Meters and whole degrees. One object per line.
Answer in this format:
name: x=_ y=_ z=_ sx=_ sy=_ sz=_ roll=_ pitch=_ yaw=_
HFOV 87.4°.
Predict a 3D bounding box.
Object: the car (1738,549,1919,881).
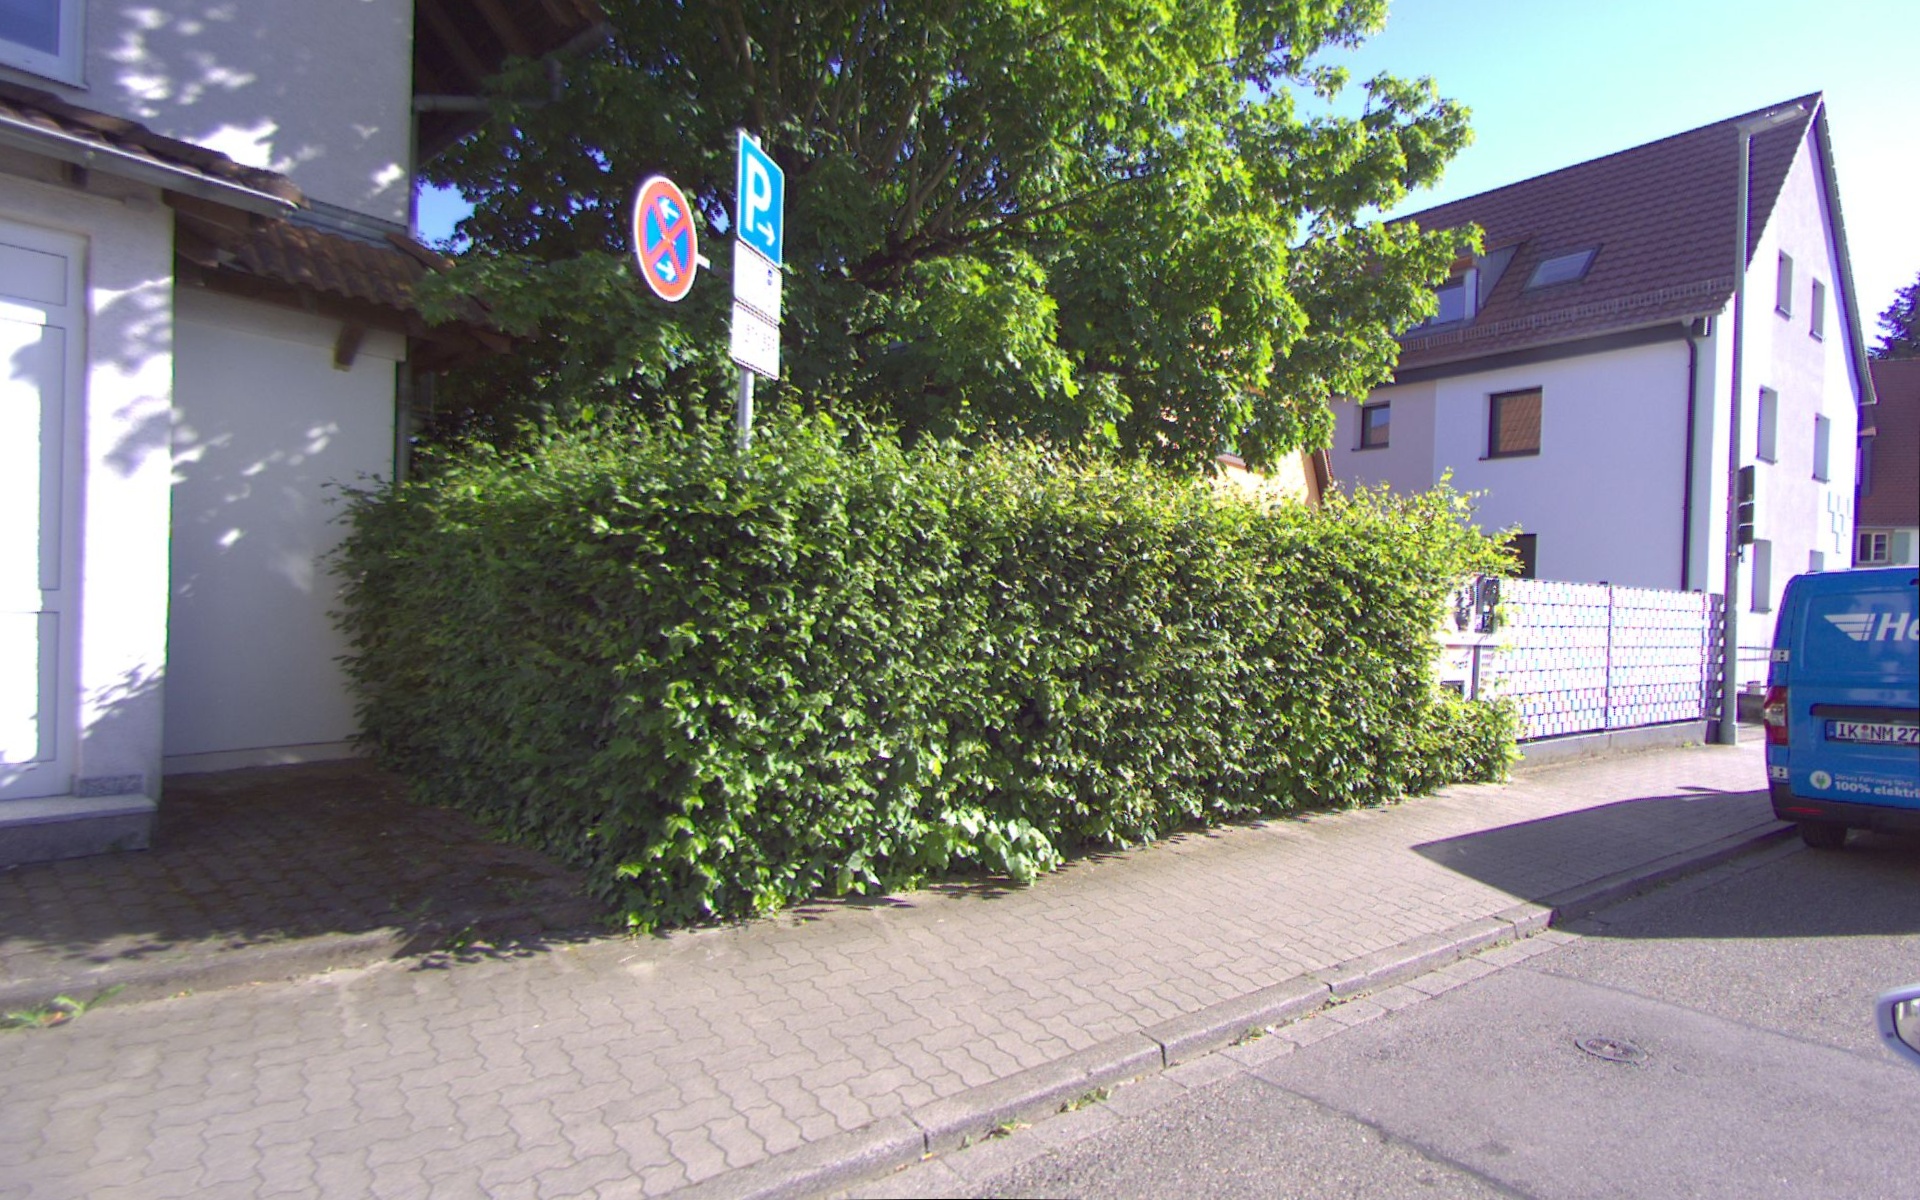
car: x=7.687 y=0.725 z=7.335 sx=5.022 sy=1.943 sz=1.889 roll=1 pitch=-1 yaw=-37
